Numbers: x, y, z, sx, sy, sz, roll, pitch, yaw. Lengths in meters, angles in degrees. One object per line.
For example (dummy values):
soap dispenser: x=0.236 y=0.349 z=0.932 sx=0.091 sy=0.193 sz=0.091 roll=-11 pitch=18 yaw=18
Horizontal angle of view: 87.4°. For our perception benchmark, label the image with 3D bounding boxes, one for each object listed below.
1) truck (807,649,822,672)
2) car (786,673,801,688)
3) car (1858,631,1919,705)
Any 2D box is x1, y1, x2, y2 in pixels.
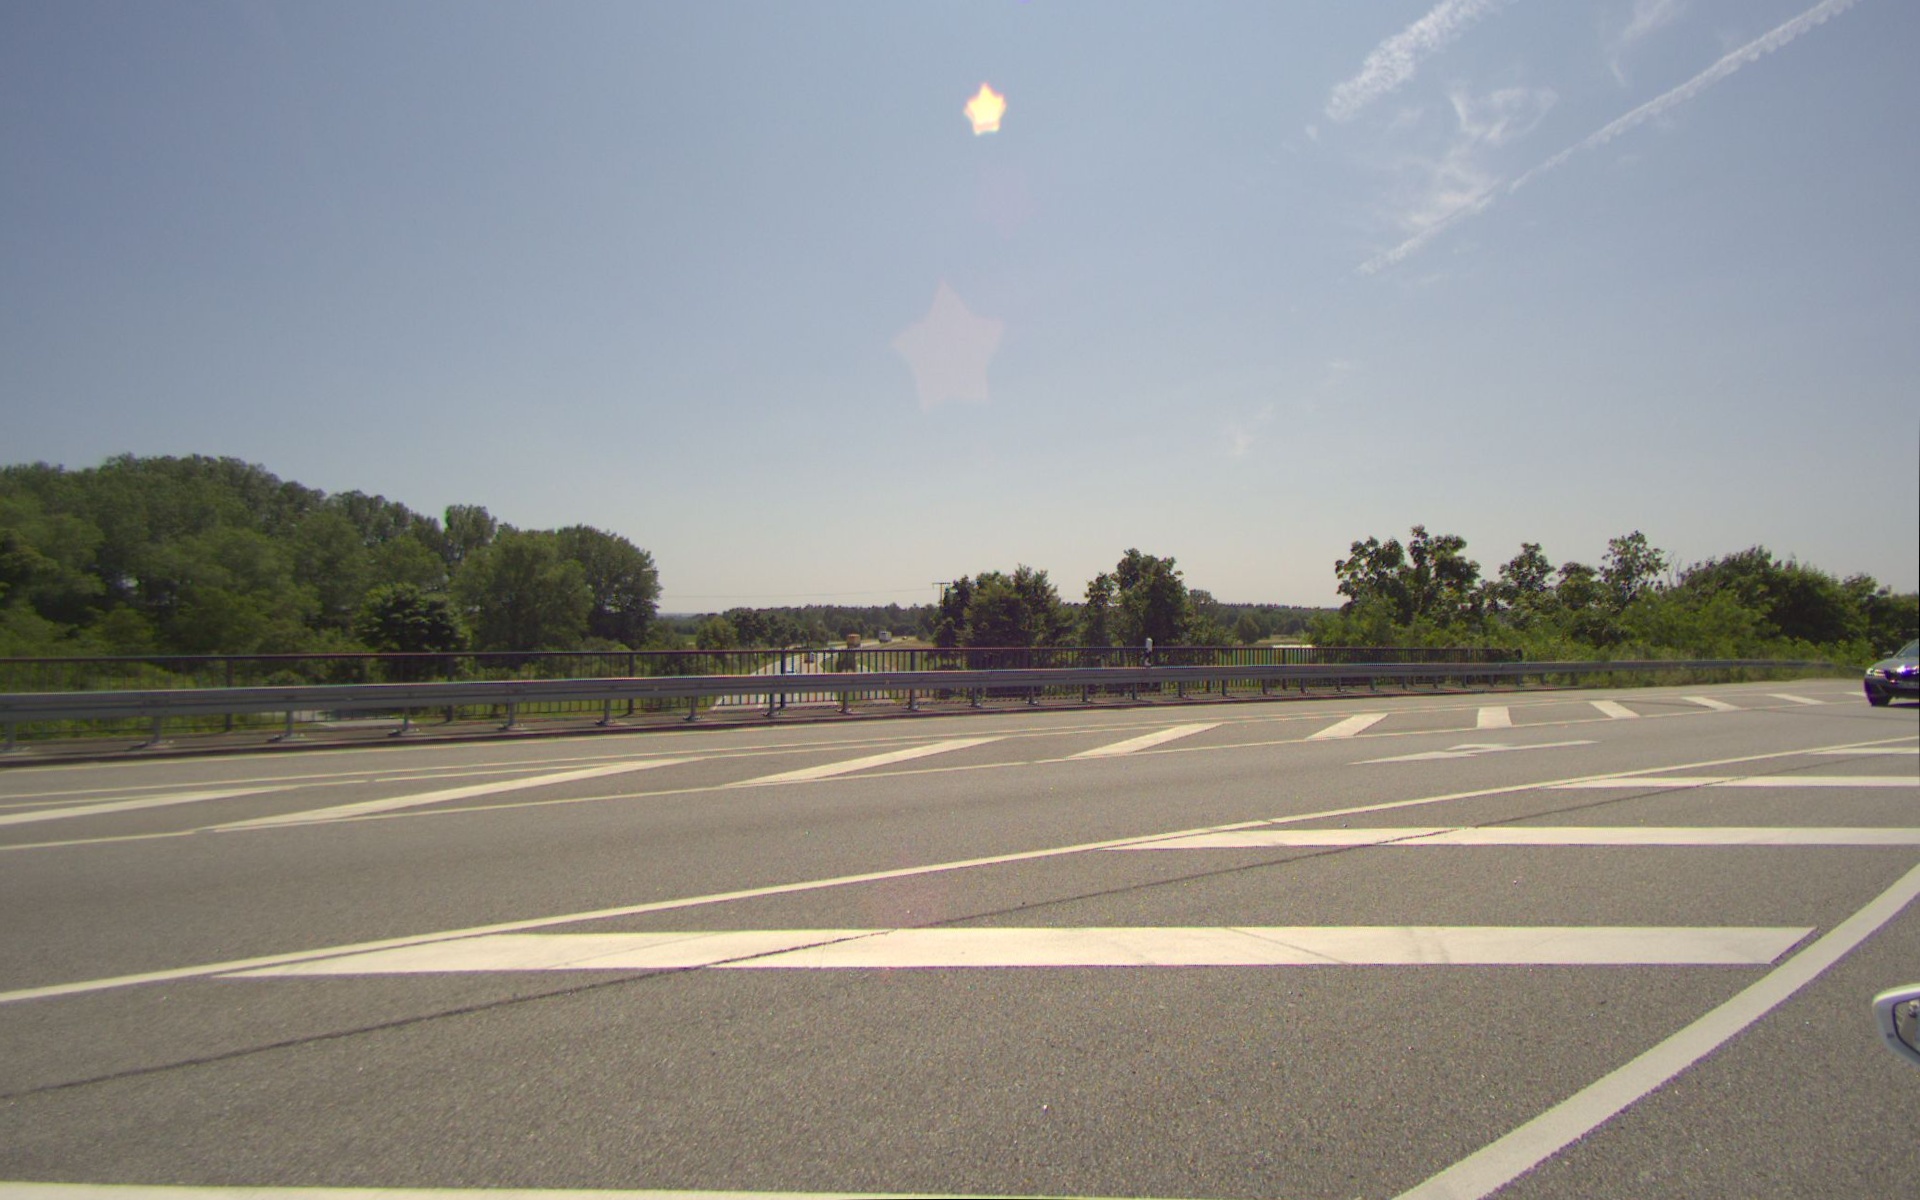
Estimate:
truck: x=-29.534 y=12.260 z=204.690 sx=1.961 sy=3.404 sz=9.650 roll=2 pitch=3 yaw=-3
car: x=-23.232 y=11.231 z=140.354 sx=1.773 sy=1.862 sz=3.996 roll=2 pitch=0 yaw=-6
car: x=21.035 y=1.393 z=21.176 sx=4.737 sy=1.472 sz=1.716 roll=1 pitch=-2 yaw=-30
